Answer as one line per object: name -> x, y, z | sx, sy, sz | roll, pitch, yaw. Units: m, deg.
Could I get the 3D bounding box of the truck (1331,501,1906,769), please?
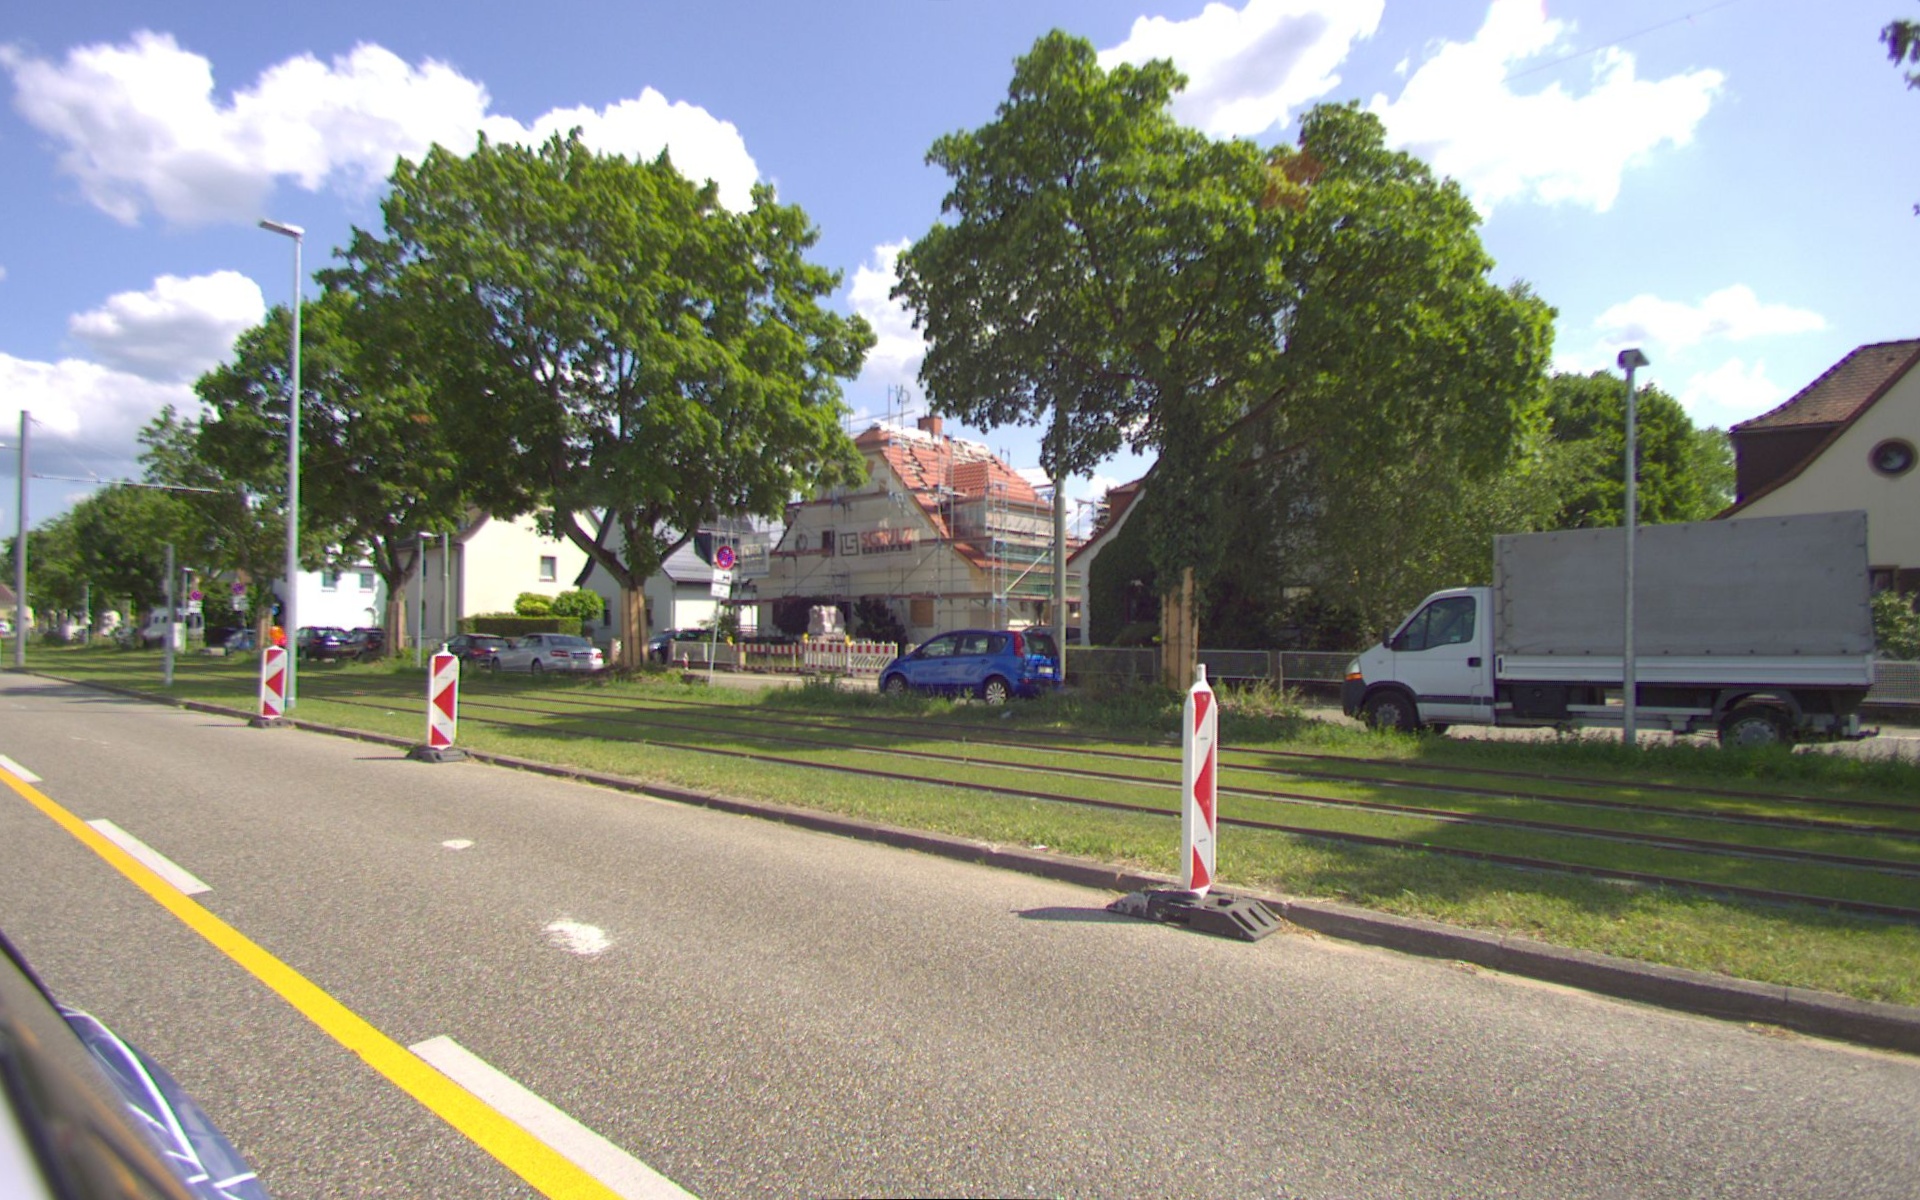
truck -> 8.306, 0.452, 13.394 | 5.971, 2.802, 2.242 | -2, -3, 41

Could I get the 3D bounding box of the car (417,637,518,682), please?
car -> -17.513, 2.114, 35.886 | 4.403, 1.497, 1.680 | -3, -3, 41

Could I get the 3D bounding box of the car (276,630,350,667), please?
car -> -29.486, 2.218, 46.067 | 4.403, 1.584, 1.680 | -3, -3, 41

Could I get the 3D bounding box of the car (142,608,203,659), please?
car -> -49.508, 2.153, 63.601 | 5.080, 3.061, 2.108 | -3, -3, 41

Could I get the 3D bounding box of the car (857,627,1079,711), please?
car -> 0.072, 1.348, 20.272 | 4.403, 1.497, 1.680 | -3, -3, 41

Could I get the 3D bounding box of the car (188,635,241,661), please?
car -> -44.468, 2.867, 60.324 | 4.403, 1.497, 1.680 | -3, -3, 41

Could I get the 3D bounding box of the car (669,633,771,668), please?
car -> -10.918, 2.287, 46.203 | 1.702, 1.497, 4.345 | -3, -3, 41

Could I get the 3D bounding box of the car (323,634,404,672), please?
car -> -25.172, 2.247, 42.644 | 4.403, 1.497, 1.680 | -3, -3, 41

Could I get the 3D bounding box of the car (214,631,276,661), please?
car -> -37.486, 2.421, 53.043 | 4.403, 1.497, 1.680 | -3, -3, 41

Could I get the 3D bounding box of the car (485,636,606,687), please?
car -> -13.113, 1.927, 31.850 | 4.520, 1.497, 1.765 | -4, -3, 42
